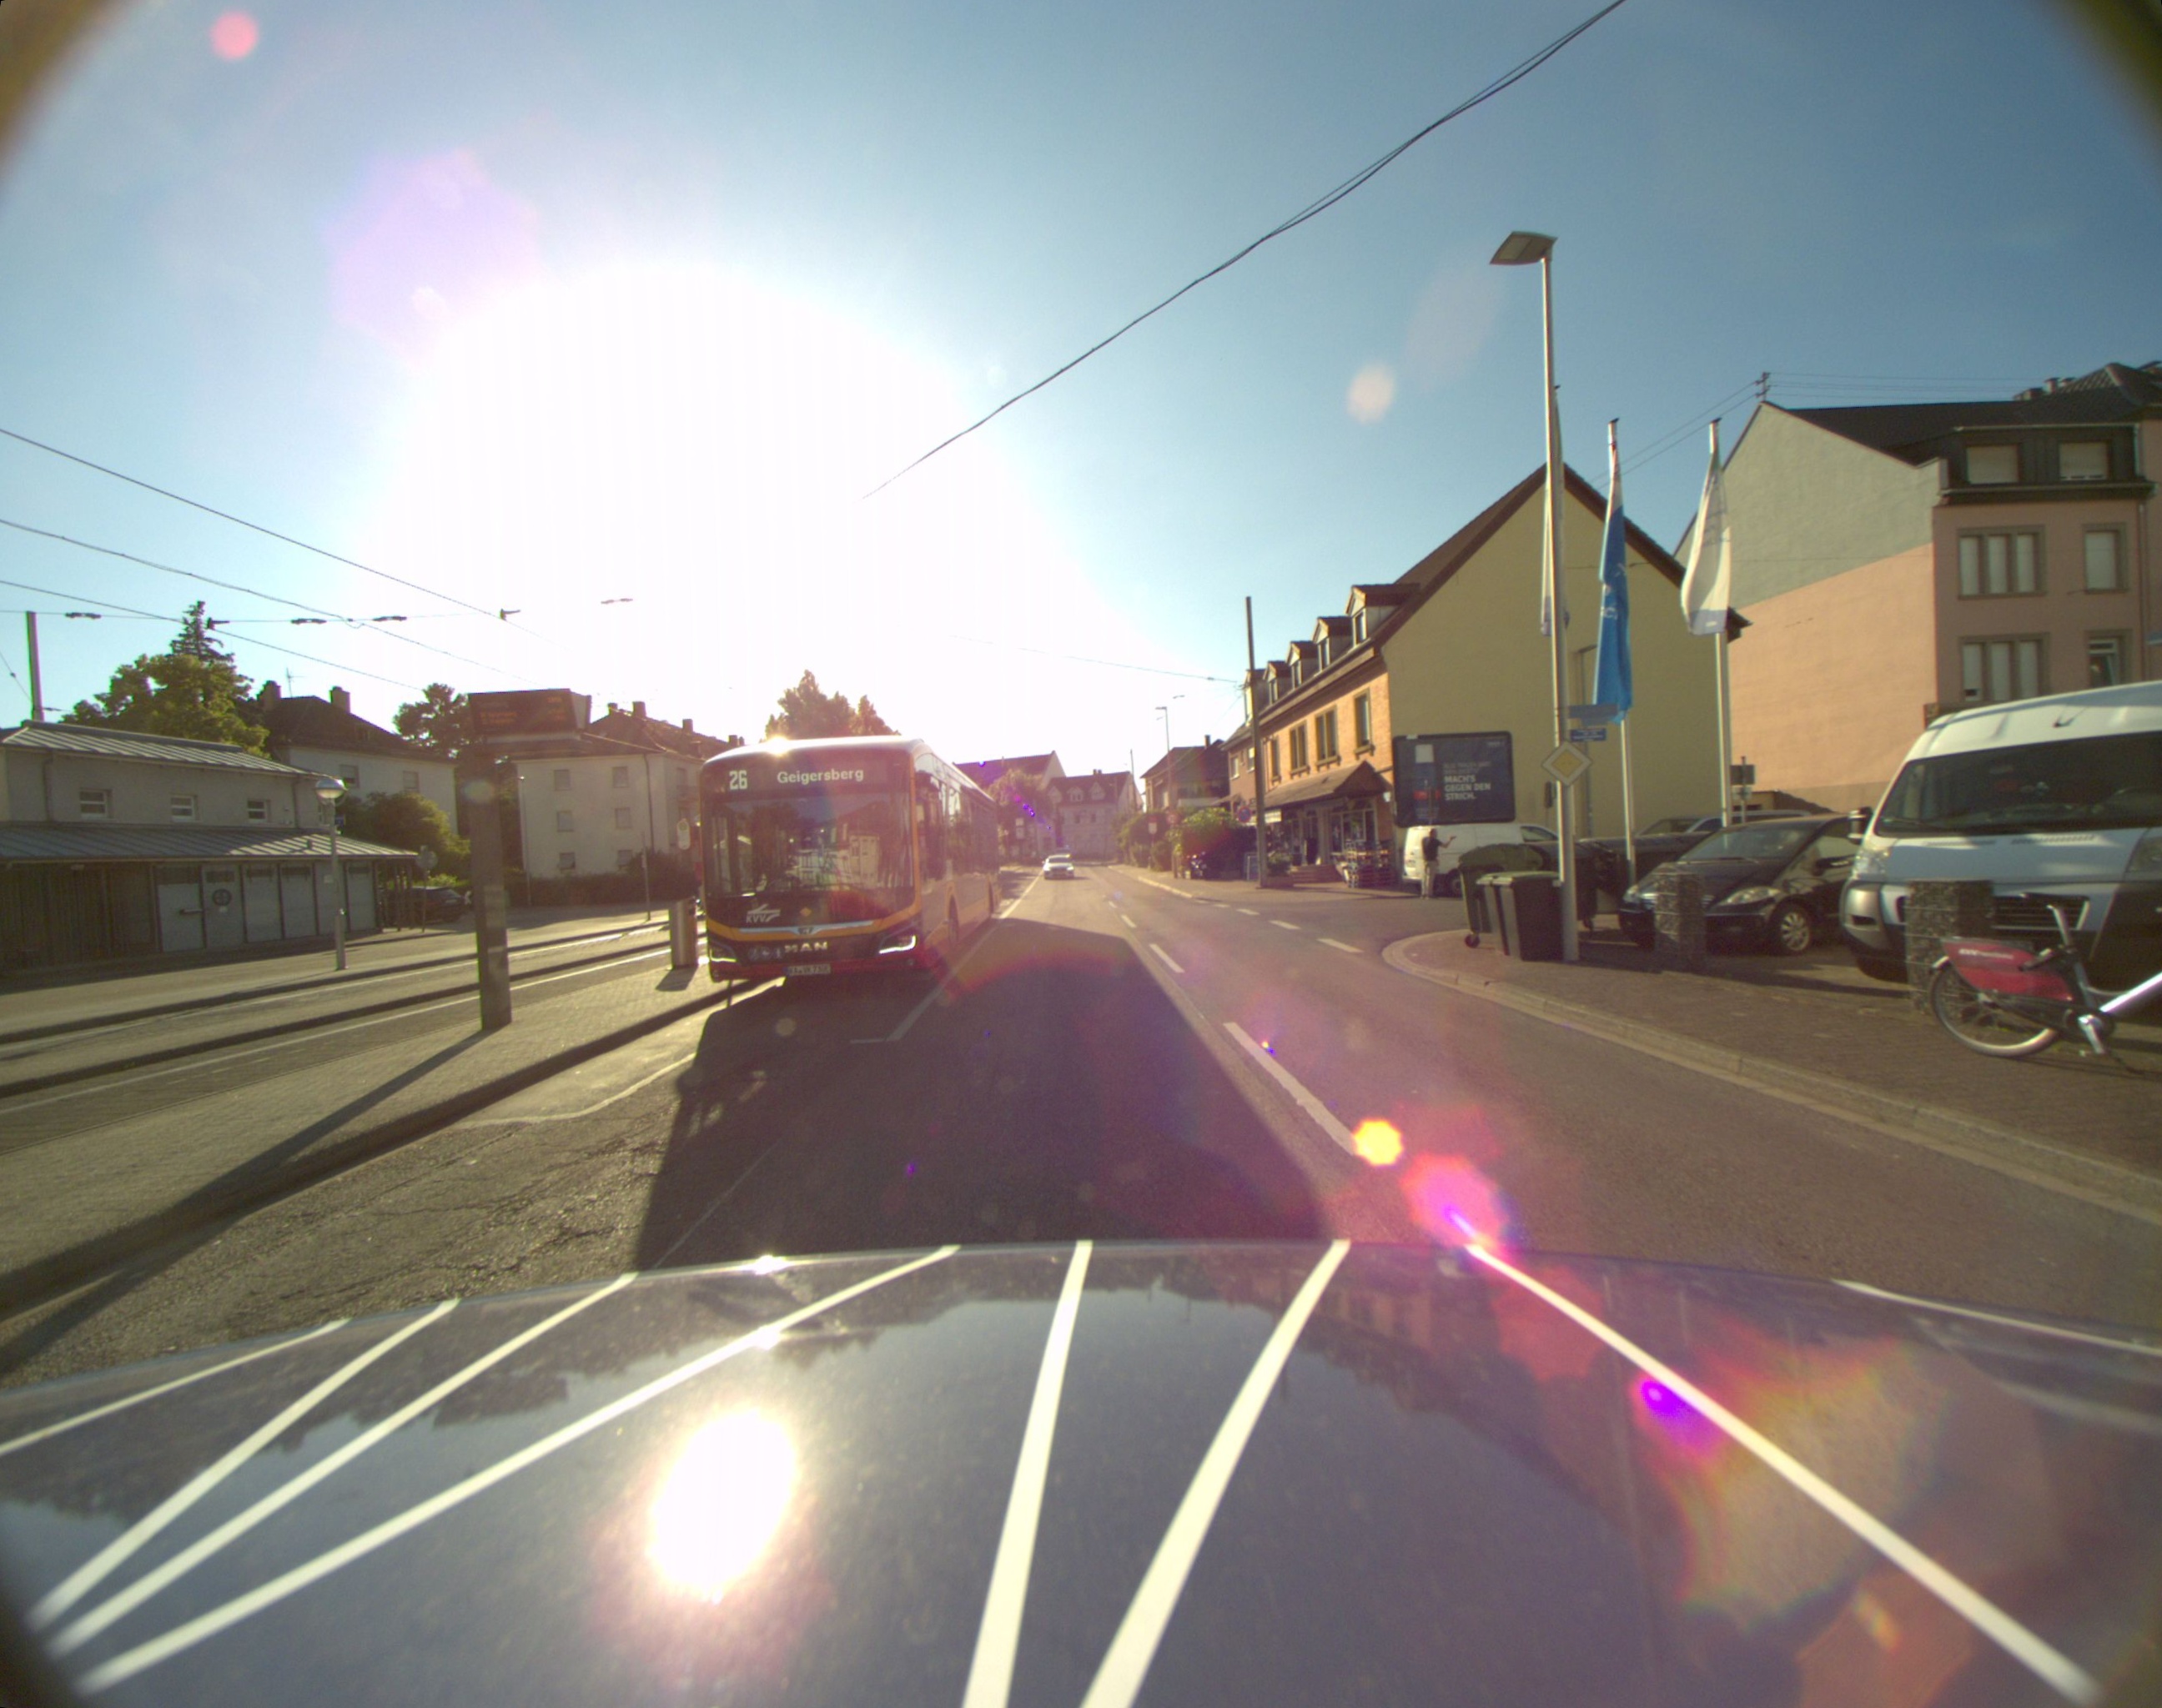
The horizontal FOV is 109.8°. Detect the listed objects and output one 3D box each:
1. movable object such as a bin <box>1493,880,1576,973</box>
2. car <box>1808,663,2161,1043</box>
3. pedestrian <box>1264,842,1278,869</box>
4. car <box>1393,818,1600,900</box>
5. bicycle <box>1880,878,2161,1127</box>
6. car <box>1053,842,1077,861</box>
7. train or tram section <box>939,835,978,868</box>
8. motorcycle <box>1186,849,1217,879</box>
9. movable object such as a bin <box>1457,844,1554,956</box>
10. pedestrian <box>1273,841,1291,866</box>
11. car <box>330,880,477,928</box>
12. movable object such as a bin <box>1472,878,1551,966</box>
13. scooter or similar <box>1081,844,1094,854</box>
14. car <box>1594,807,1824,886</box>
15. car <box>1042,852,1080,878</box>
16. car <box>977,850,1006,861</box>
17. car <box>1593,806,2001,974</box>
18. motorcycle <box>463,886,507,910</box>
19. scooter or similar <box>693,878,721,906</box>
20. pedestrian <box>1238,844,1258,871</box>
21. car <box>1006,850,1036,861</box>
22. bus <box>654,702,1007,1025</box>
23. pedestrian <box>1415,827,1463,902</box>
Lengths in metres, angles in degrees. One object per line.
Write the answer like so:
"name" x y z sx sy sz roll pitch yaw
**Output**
"movable object such as a bin" 5.489 0.867 9.229 0.641 1.063 0.581 -4 -2 11
"car" 9.044 -0.144 6.544 5.076 2.455 2.105 -4 1 -23
"pedestrian" 9.124 0.061 36.495 0.524 1.251 0.465 -3 1 0
"car" 11.352 0.118 20.976 4.627 1.922 1.999 -3 1 -3
"bicycle" 5.698 0.766 4.105 0.725 1.171 1.779 -3 1 -10
"car" -1.793 -0.224 83.359 1.872 1.922 4.788 -5 0 -8
"train or tram section" -13.960 -0.355 87.670 2.965 3.402 13.458 -2 0 -3
"motorcycle" 5.538 0.451 35.024 0.841 1.275 2.231 -4 1 -4
"movable object such as a bin" 6.056 0.648 10.912 1.056 1.473 1.315 -4 -2 27
"pedestrian" 9.015 -0.029 34.073 0.564 1.103 0.632 -3 1 -1
"car" -28.679 2.093 32.254 4.449 1.759 2.000 -2 1 3
"movable object such as a bin" 5.571 0.872 9.867 0.661 1.056 0.585 -5 -1 11
"scooter or similar" 0.981 -0.712 114.984 1.883 1.358 0.625 -3 2 21
"car" 17.478 -0.214 21.287 4.974 1.884 1.999 -3 1 -5
"car" -1.215 0.672 48.320 1.998 1.454 4.449 -3 0 3
"car" -14.028 0.265 119.183 4.116 1.339 1.938 -3 1 26
"car" 8.723 0.359 9.342 4.002 1.559 1.771 -4 0 -15
"motorcycle" -32.104 2.382 40.958 1.827 1.155 0.558 -3 1 -4
"scooter or similar" -17.082 1.719 34.742 0.467 1.201 1.209 -3 1 10
"pedestrian" 7.973 0.165 36.274 0.746 1.237 0.667 -3 1 2
"car" -9.244 0.217 116.787 4.196 1.454 1.610 -4 1 30
"bus" -3.309 0.075 14.302 2.695 3.396 12.016 -3 0 -1
"pedestrian" 9.232 0.254 19.615 0.794 1.857 0.820 -3 1 1
